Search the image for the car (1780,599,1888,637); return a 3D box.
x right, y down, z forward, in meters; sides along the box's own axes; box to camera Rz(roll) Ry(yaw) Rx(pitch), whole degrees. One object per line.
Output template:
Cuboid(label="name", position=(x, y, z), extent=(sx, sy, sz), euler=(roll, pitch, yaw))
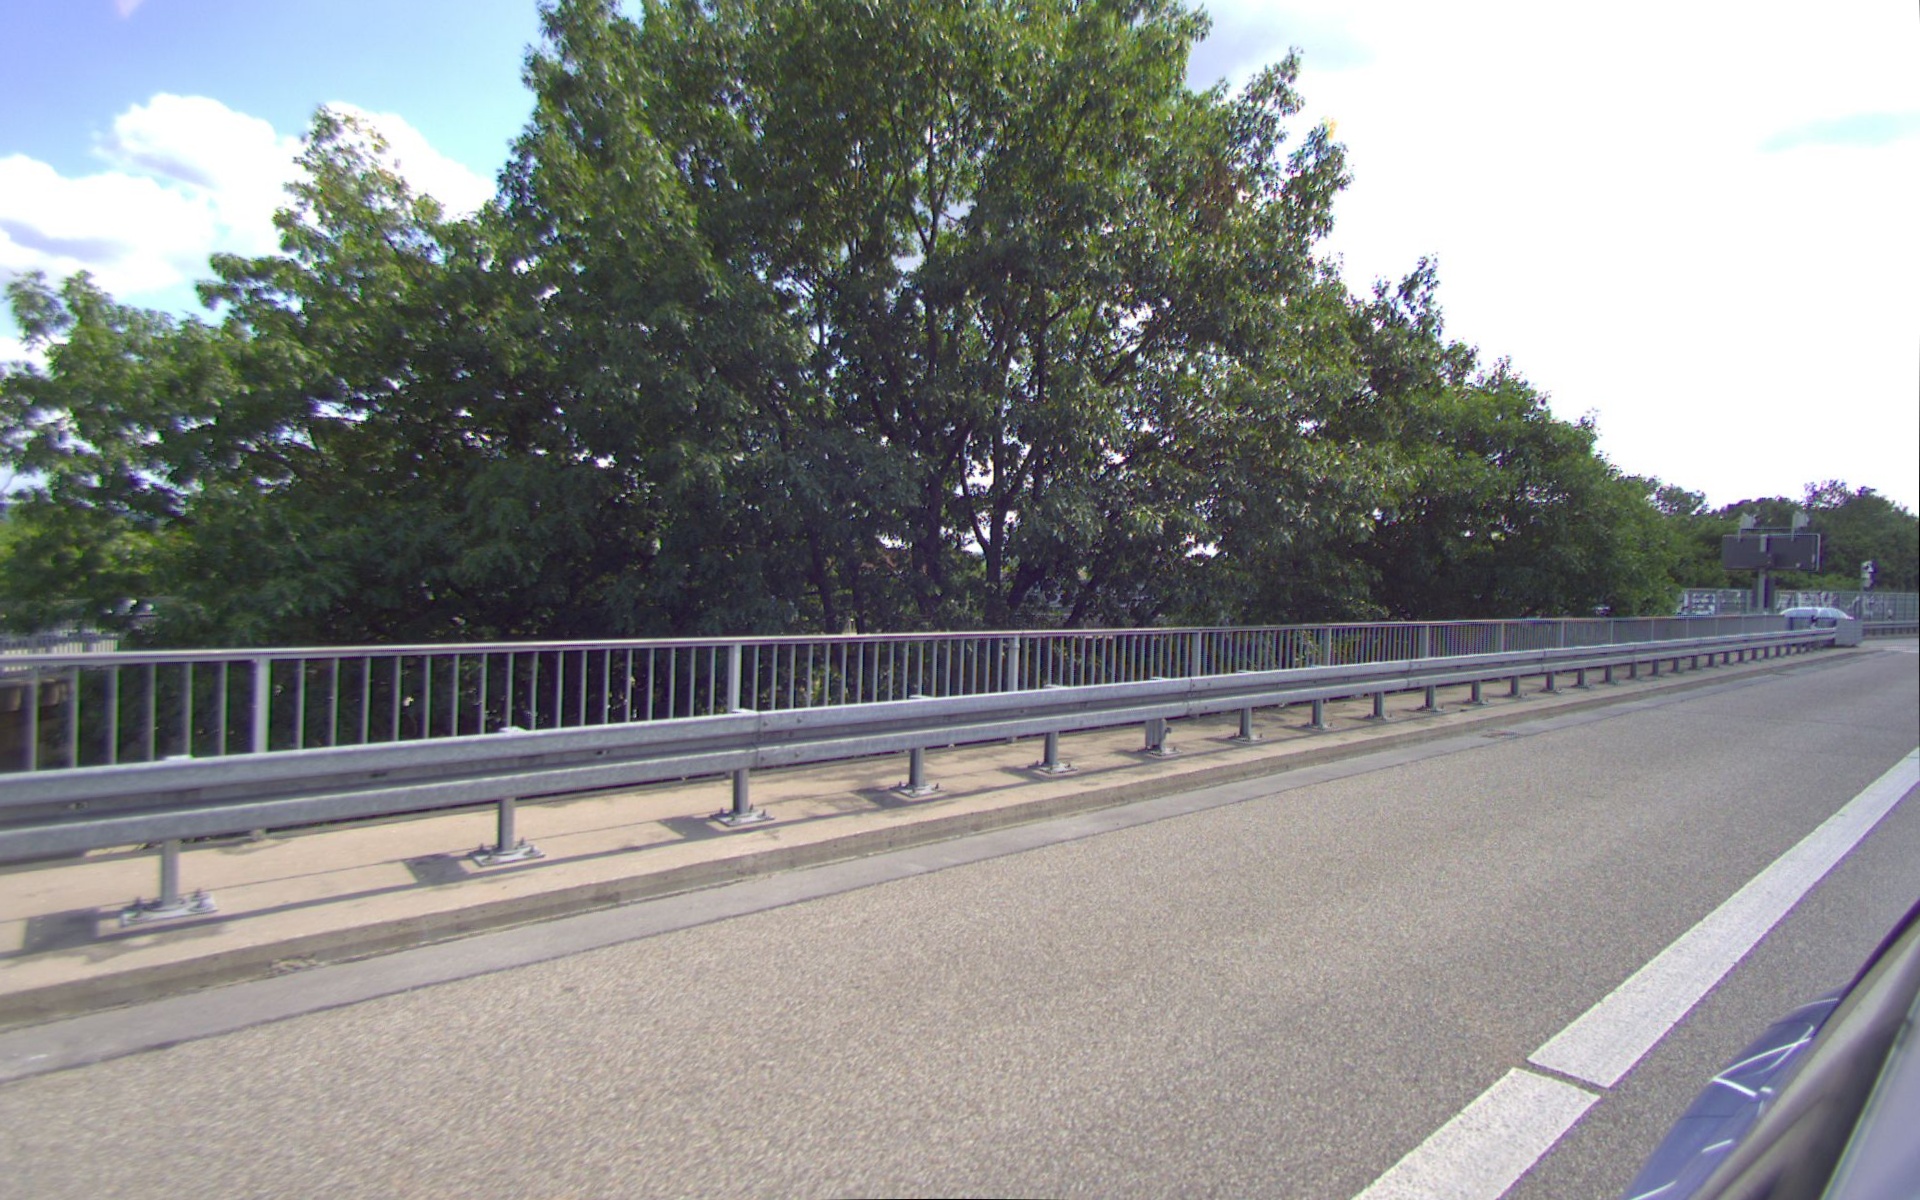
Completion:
Cuboid(label="car", position=(34.109, 0.683, 39.510), extent=(3.693, 1.430, 1.773), euler=(0, 0, -24))
